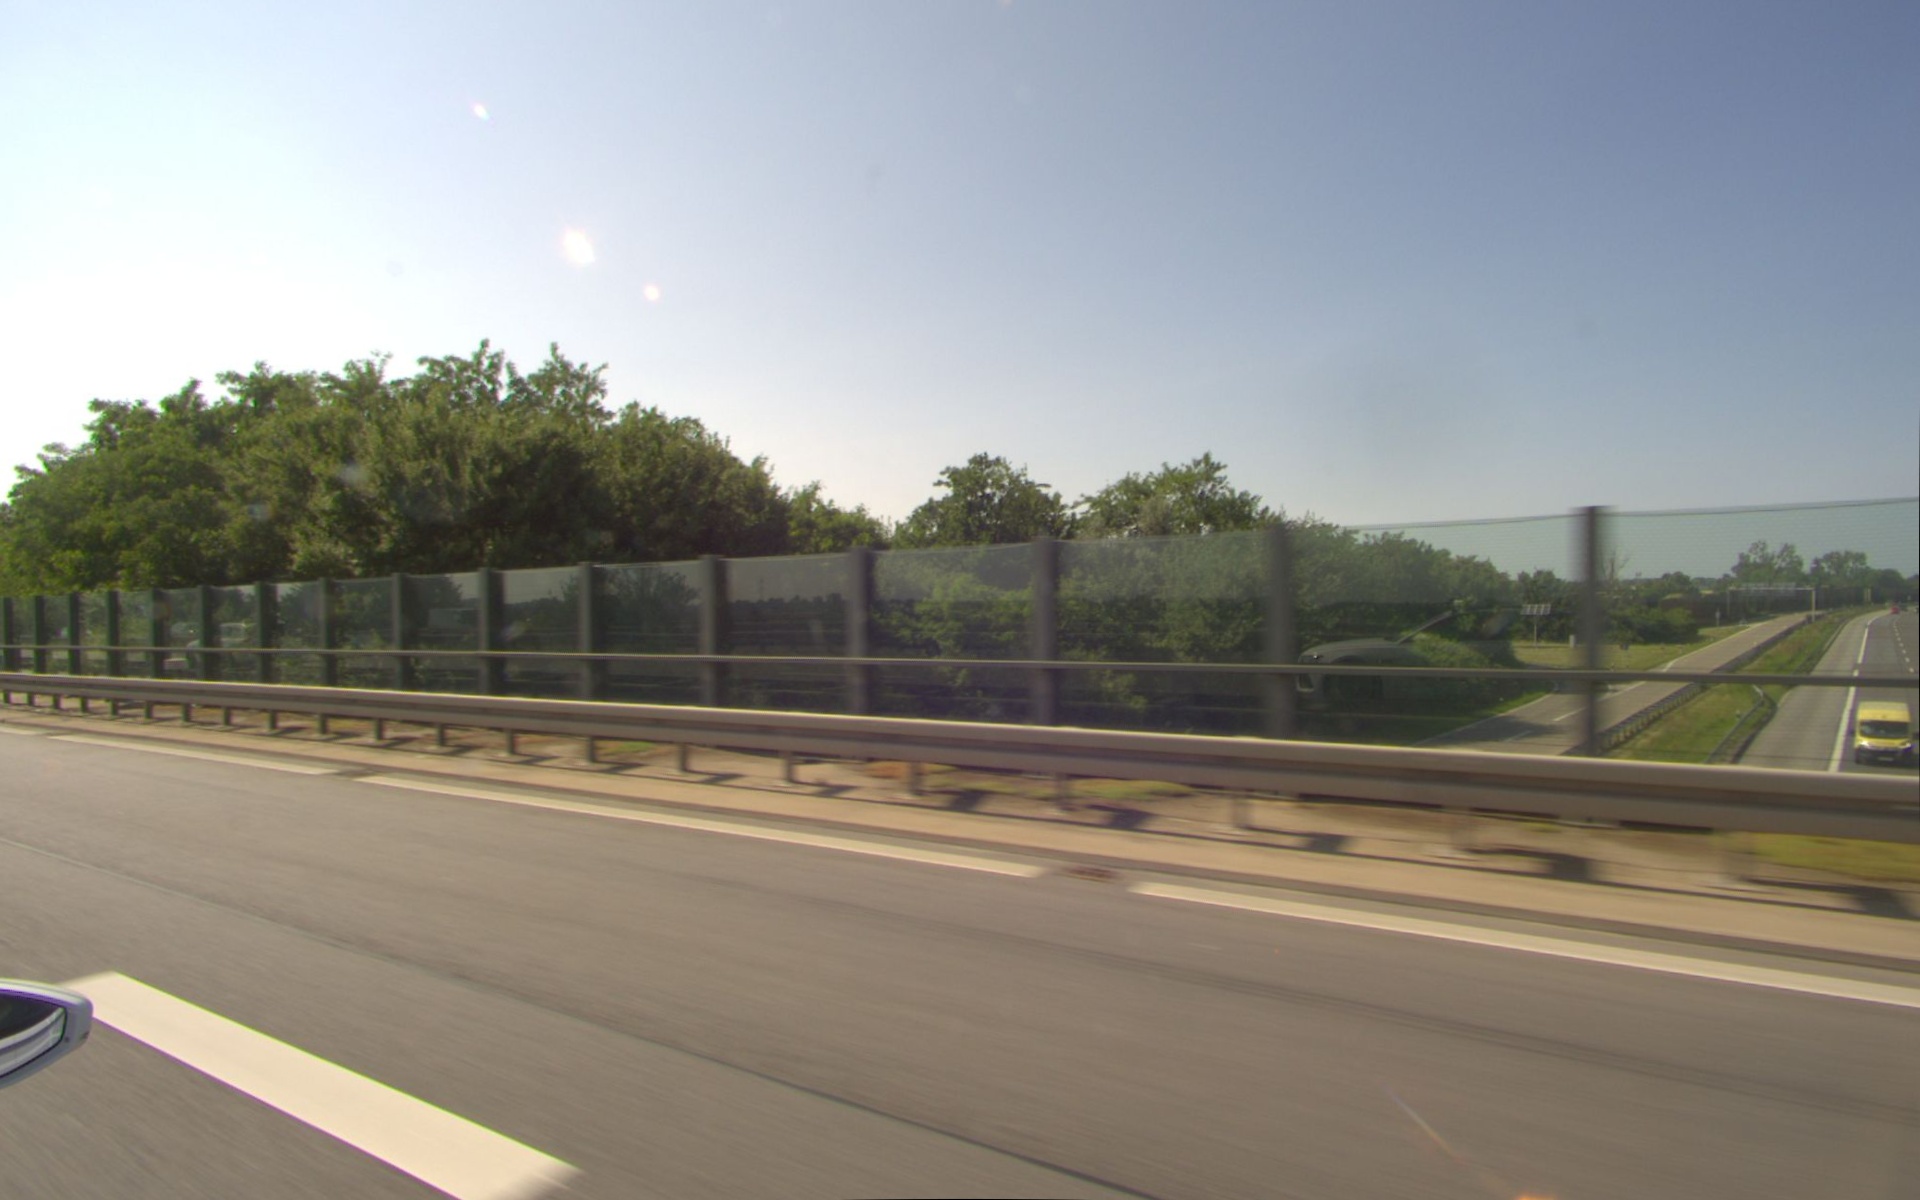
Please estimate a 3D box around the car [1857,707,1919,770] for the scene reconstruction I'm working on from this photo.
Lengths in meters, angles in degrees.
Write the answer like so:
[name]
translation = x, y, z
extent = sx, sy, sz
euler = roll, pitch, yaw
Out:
[car]
translation = 42.958, 6.326, 46.330
extent = 2.113, 2.374, 4.946
euler = -1, -2, 43
